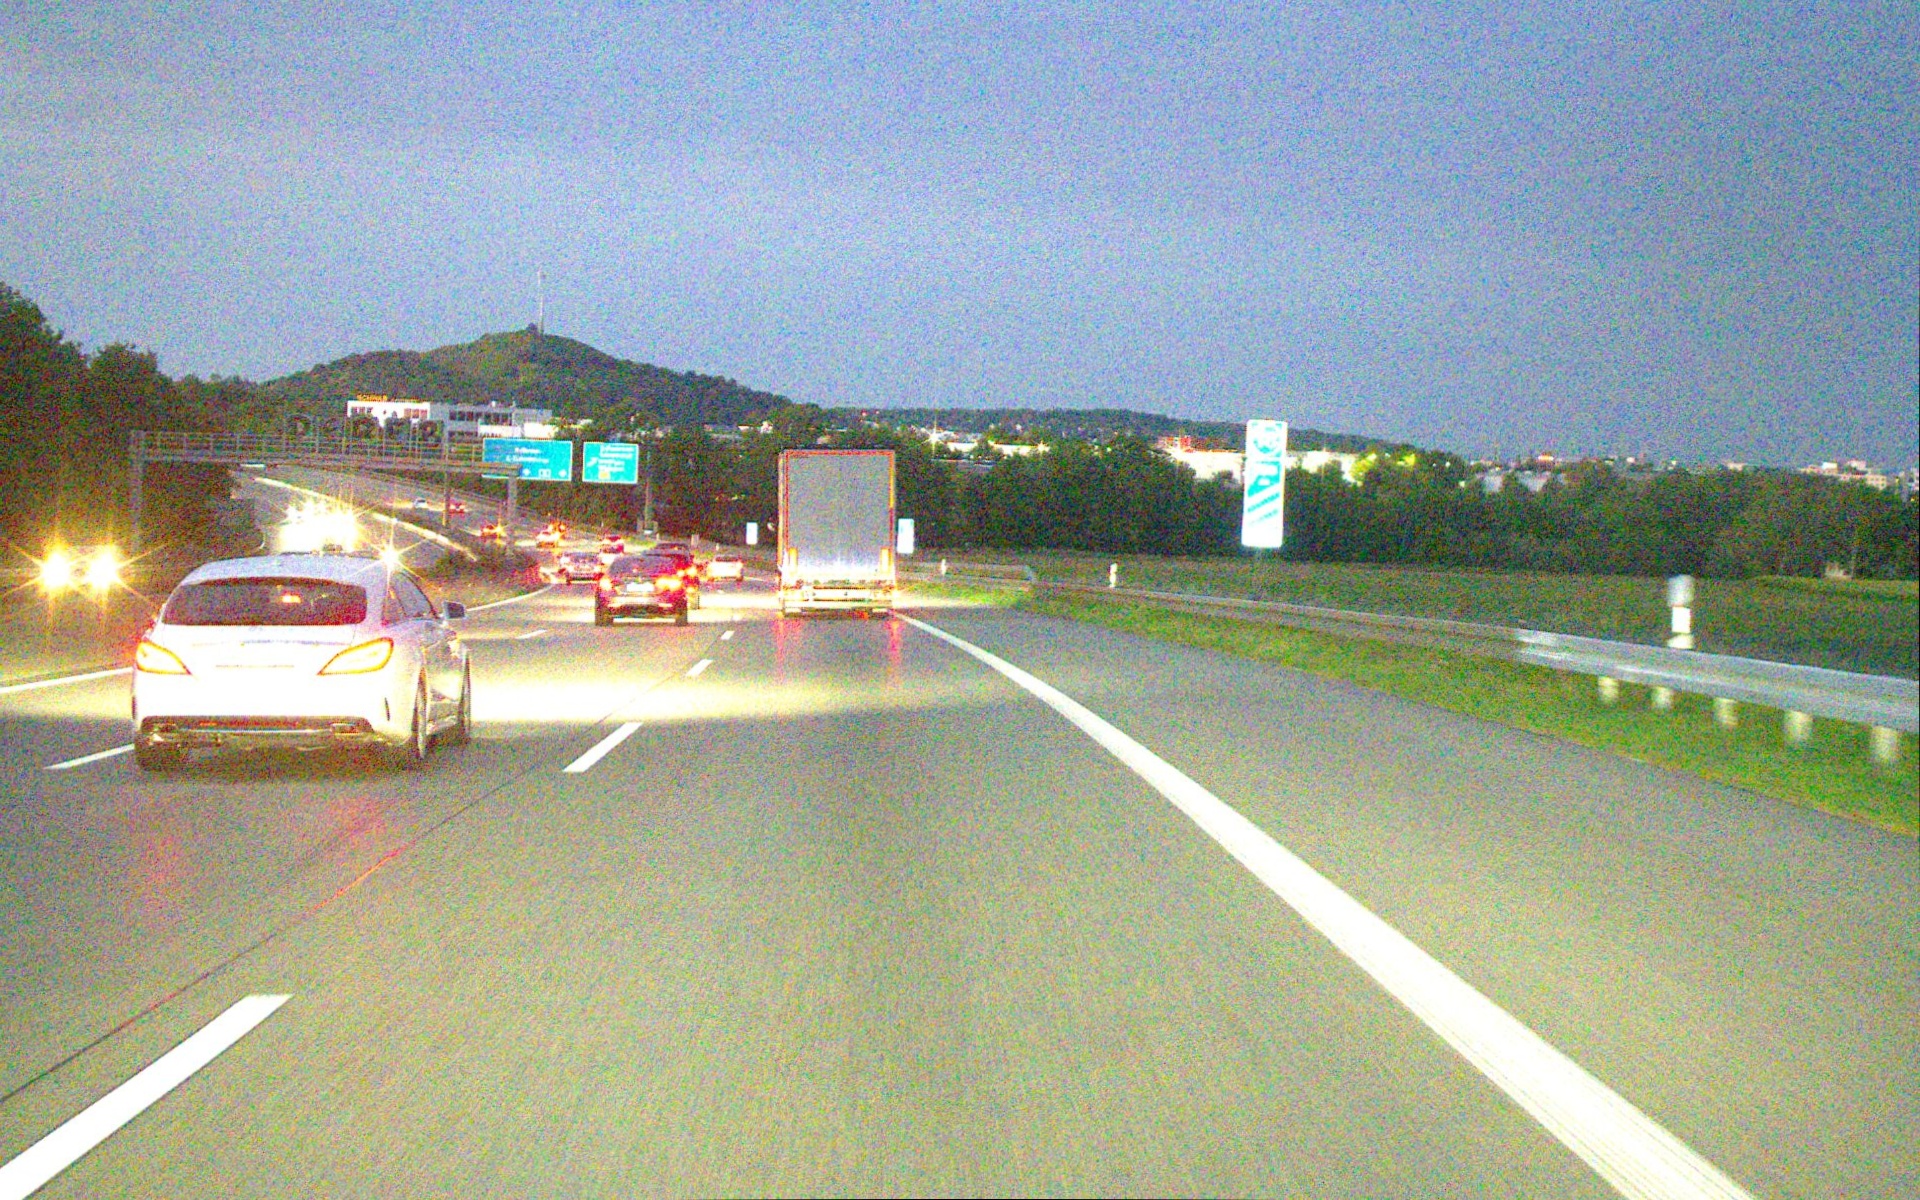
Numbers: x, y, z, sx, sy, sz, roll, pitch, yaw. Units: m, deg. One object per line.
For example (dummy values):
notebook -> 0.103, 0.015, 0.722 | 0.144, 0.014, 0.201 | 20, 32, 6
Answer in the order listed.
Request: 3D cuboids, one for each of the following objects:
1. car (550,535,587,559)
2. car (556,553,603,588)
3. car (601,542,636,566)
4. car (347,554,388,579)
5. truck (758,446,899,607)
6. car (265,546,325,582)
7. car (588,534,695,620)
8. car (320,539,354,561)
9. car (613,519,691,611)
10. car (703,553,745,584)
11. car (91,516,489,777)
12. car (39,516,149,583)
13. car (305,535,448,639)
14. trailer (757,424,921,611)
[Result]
car -> -24.331, -3.284, 213.488 | 1.993, 1.463, 4.001 | 1, 1, -10
car -> -18.093, -1.409, 163.423 | 1.993, 1.616, 4.001 | 1, 1, -9
car -> -23.986, -3.251, 241.446 | 1.993, 1.616, 4.001 | 1, 1, -12
car -> -32.517, -1.861, 188.687 | 1.834, 1.331, 4.910 | 1, 1, -5
truck -> -3.550, -1.899, 91.331 | 3.550, 4.077, 6.152 | 1, 0, -4
car -> -28.116, -1.529, 145.441 | 1.993, 1.448, 3.835 | 1, 1, -3
car -> -6.502, -0.479, 70.661 | 2.065, 1.680, 4.577 | 1, 1, -4
car -> -45.370, -3.640, 250.345 | 1.993, 1.528, 5.007 | 1, 1, -5
car -> -8.225, -0.947, 91.769 | 1.993, 2.372, 4.001 | 1, 1, -6
car -> -12.096, -1.632, 176.184 | 1.993, 1.529, 4.001 | 1, 1, -6
car -> -4.528, 0.268, 23.941 | 1.906, 1.609, 4.804 | 1, 1, -1
car -> -23.845, -1.378, 94.797 | 1.993, 1.785, 4.841 | 1, 1, -3
car -> -9.270, -0.221, 54.900 | 1.761, 1.569, 4.577 | 1, 1, -3
trailer -> -3.127, -1.866, 83.713 | 3.550, 4.102, 15.065 | 1, 0, -4
